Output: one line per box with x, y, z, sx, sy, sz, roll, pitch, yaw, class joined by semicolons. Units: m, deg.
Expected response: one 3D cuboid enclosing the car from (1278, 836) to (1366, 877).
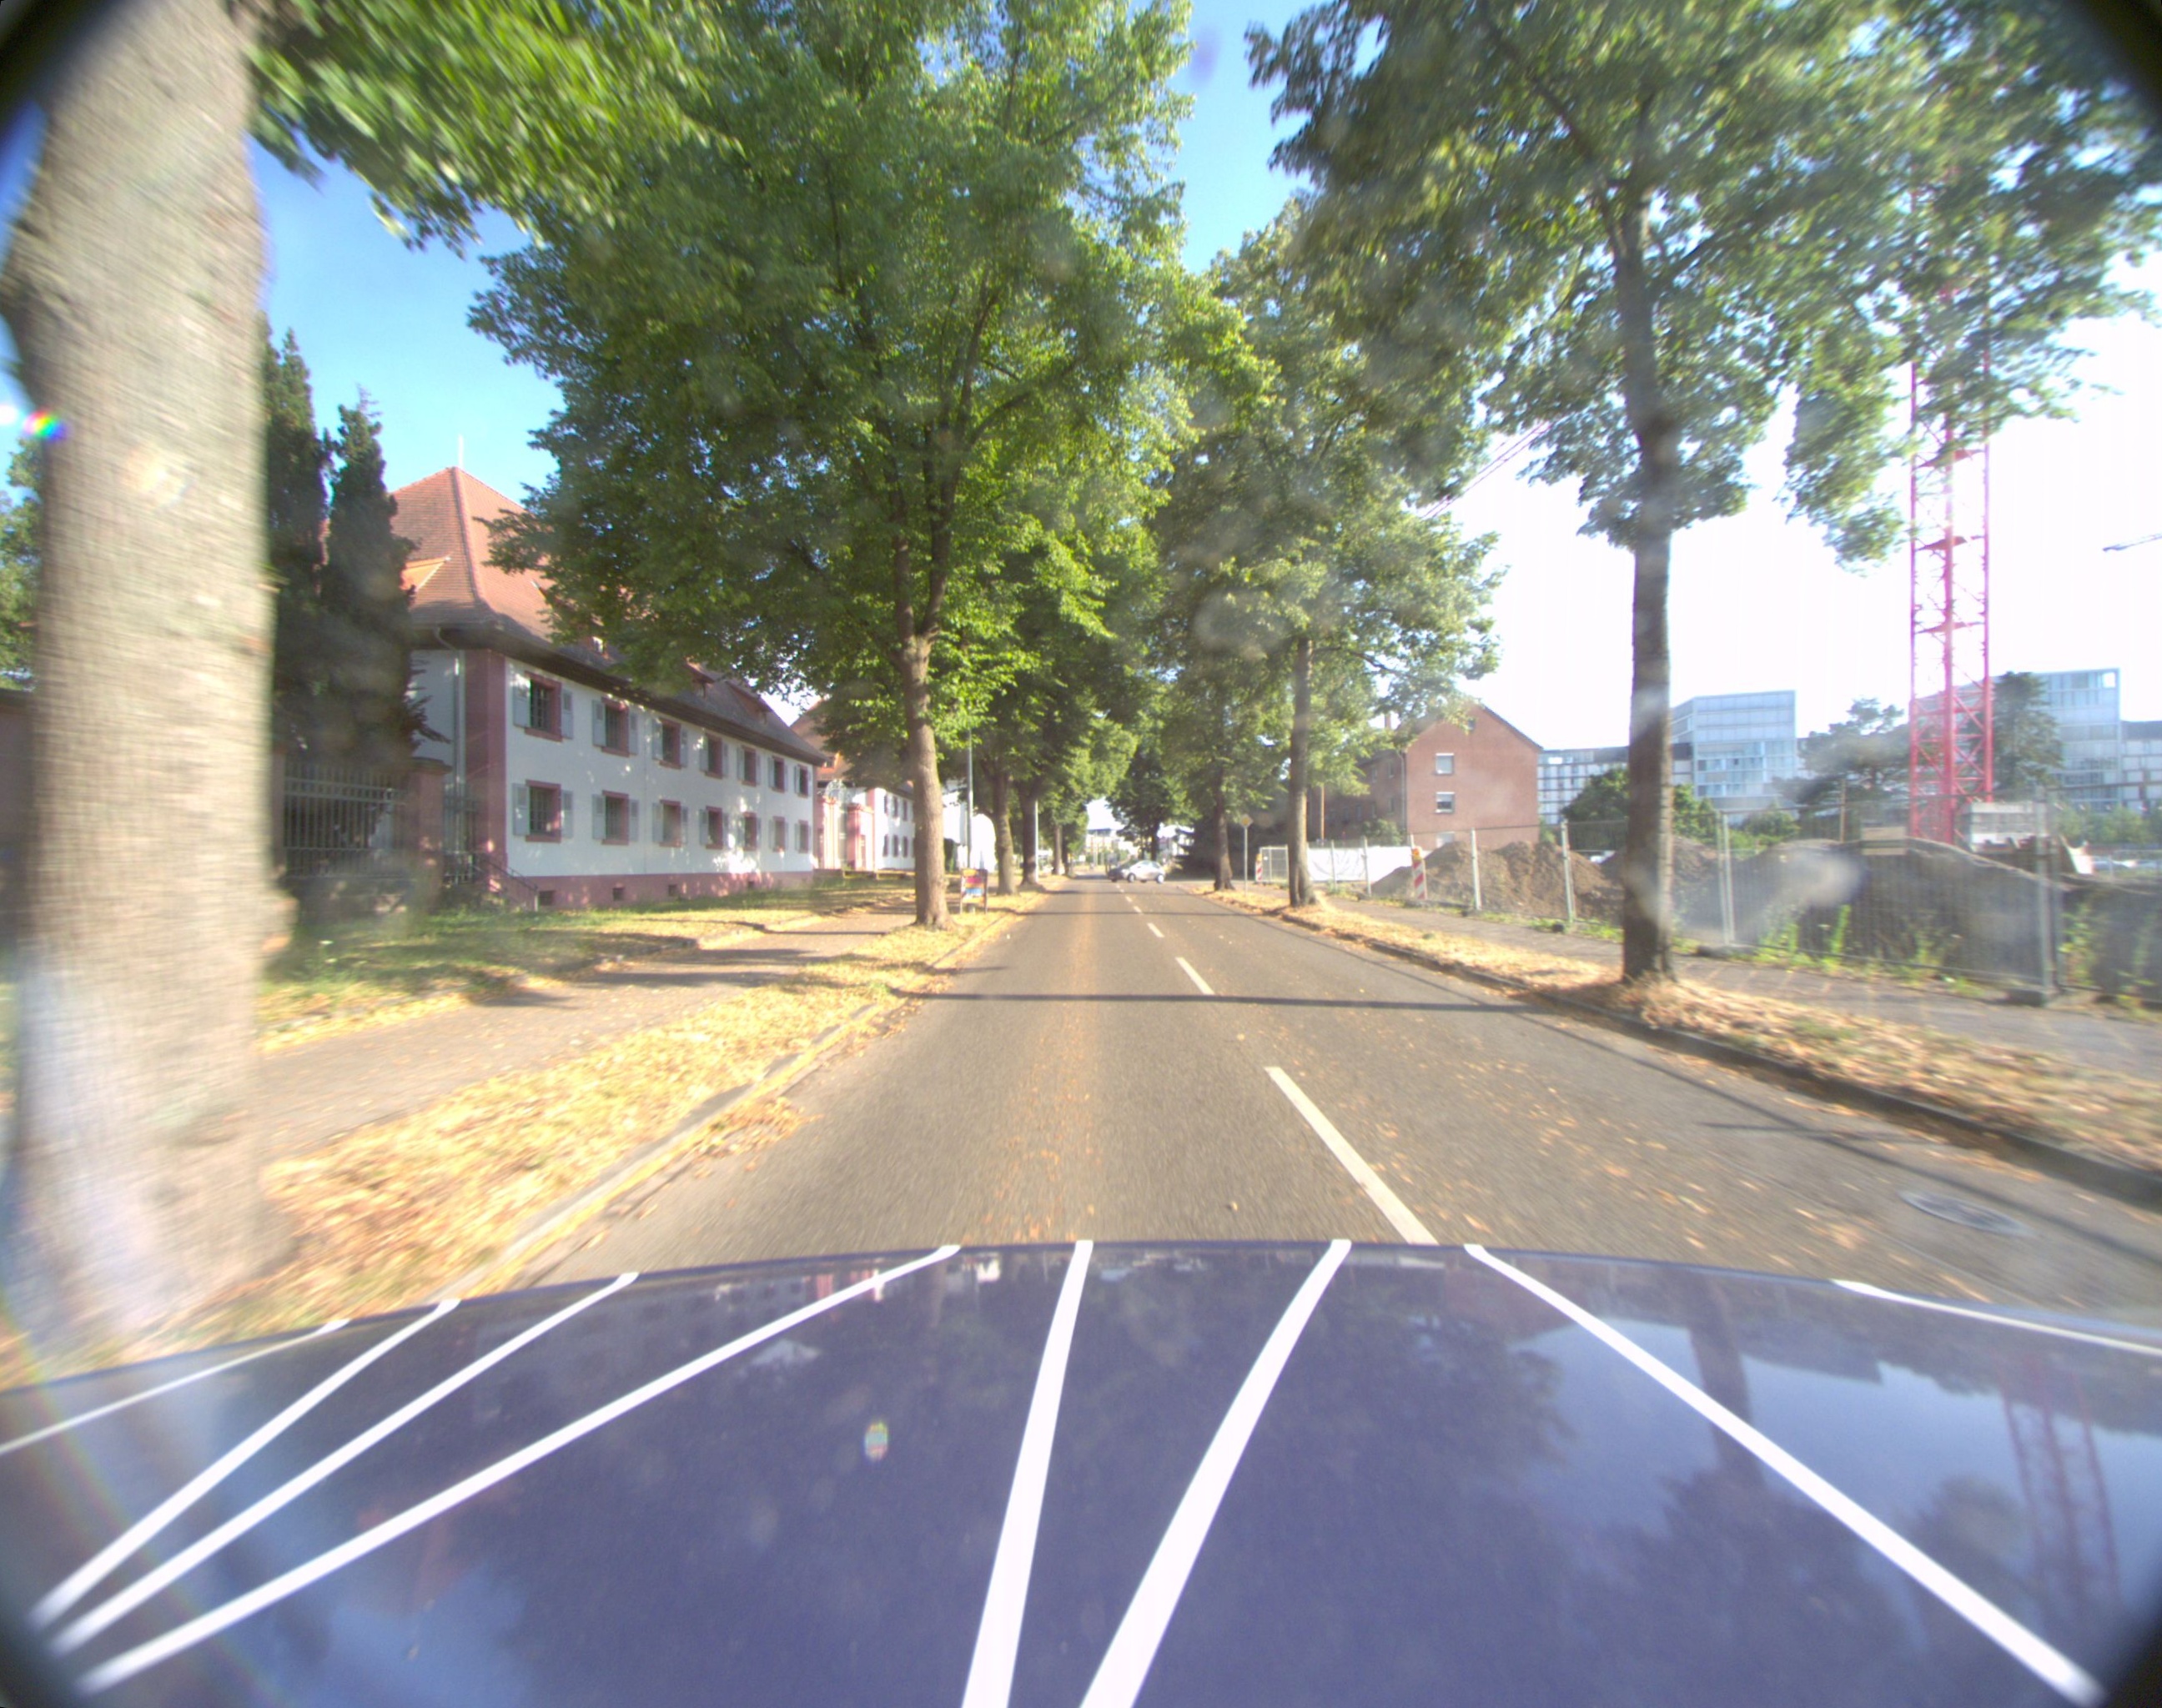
16.233;0.175;51.497;5.316;2.453;2.171;3;0;9;car

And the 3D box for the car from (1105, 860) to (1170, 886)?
3.582;1.189;47.901;3.863;1.464;1.647;-2;-1;-37;car
